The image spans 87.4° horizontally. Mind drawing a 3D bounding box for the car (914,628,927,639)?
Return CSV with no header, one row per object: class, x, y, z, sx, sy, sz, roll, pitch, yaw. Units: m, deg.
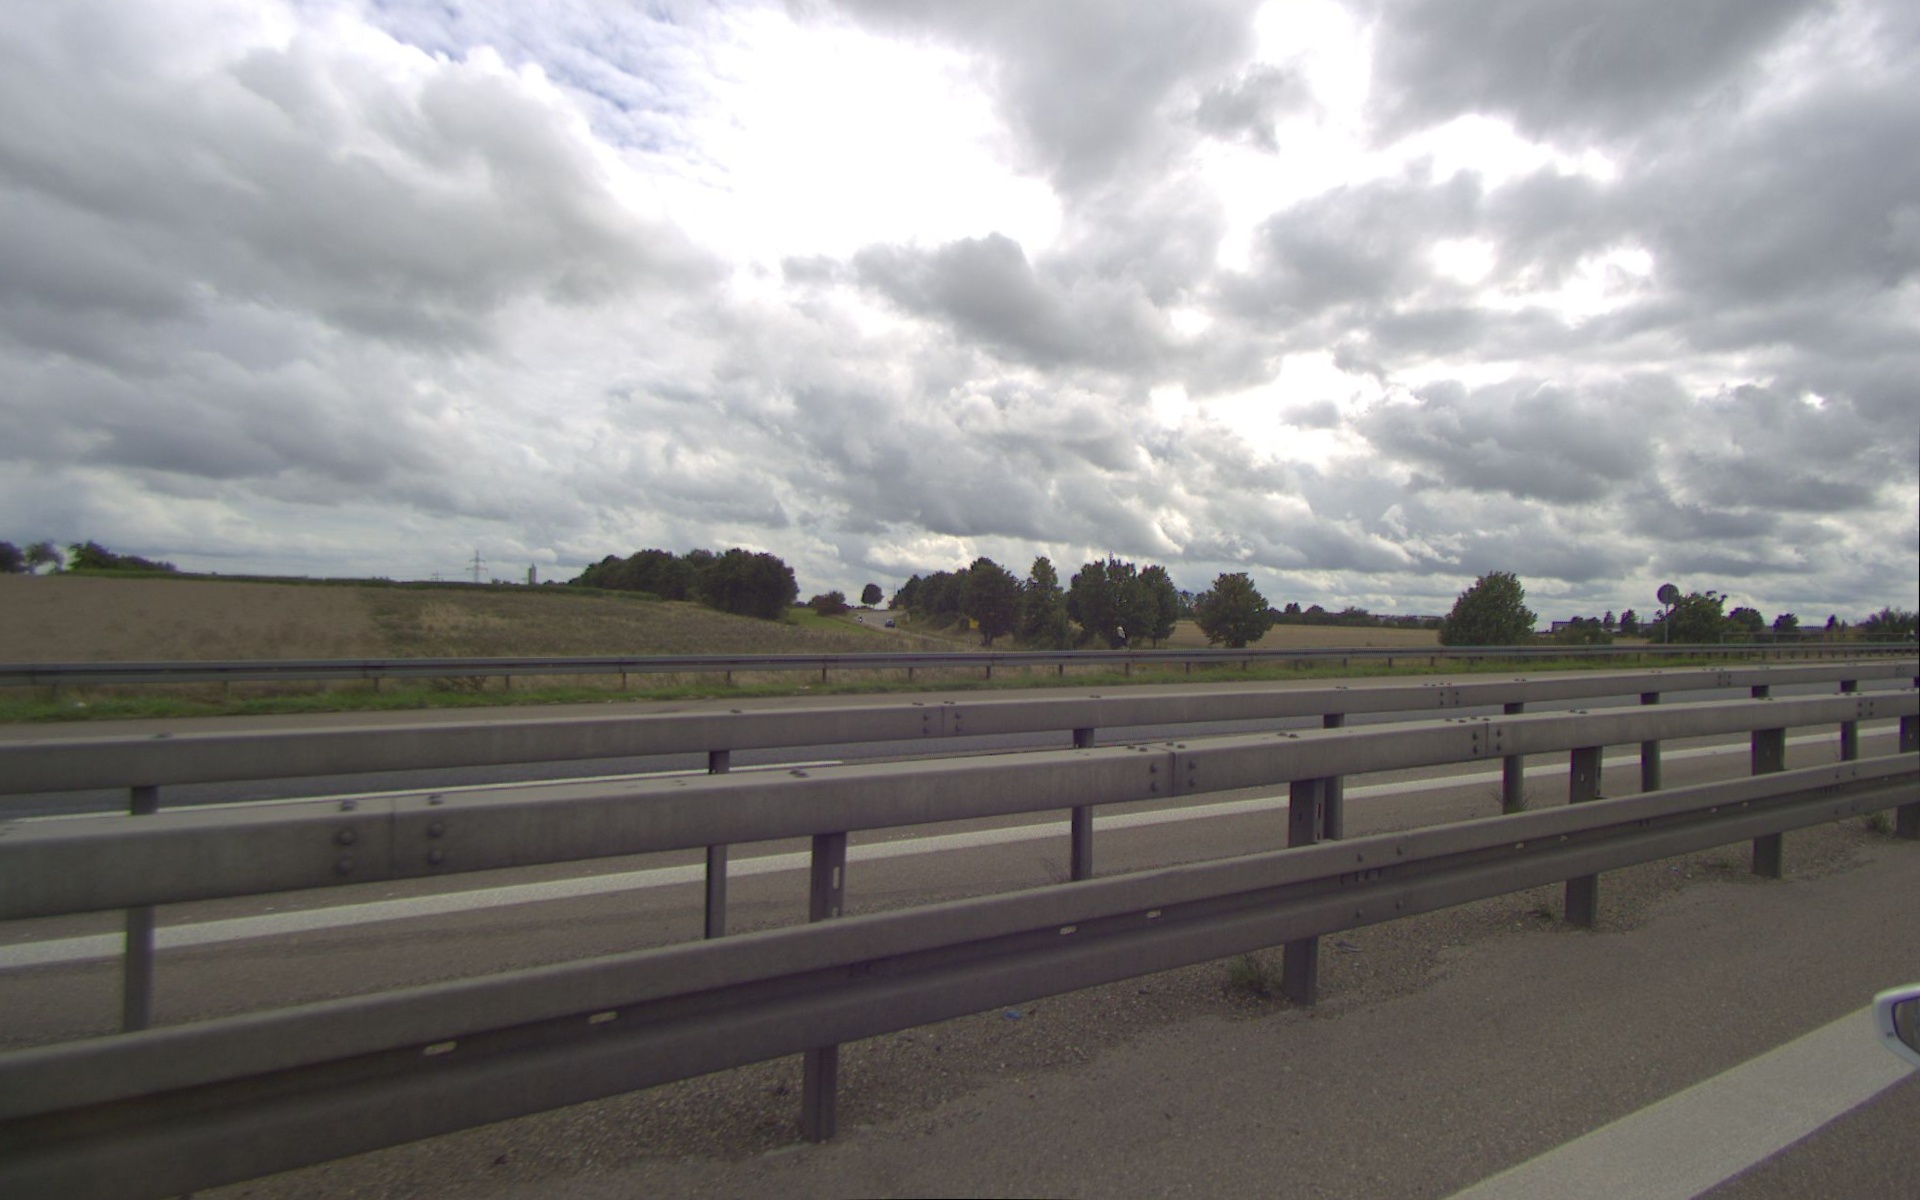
car,-7.490,6.405,190.373,1.849,1.951,3.738,2,-1,-10
